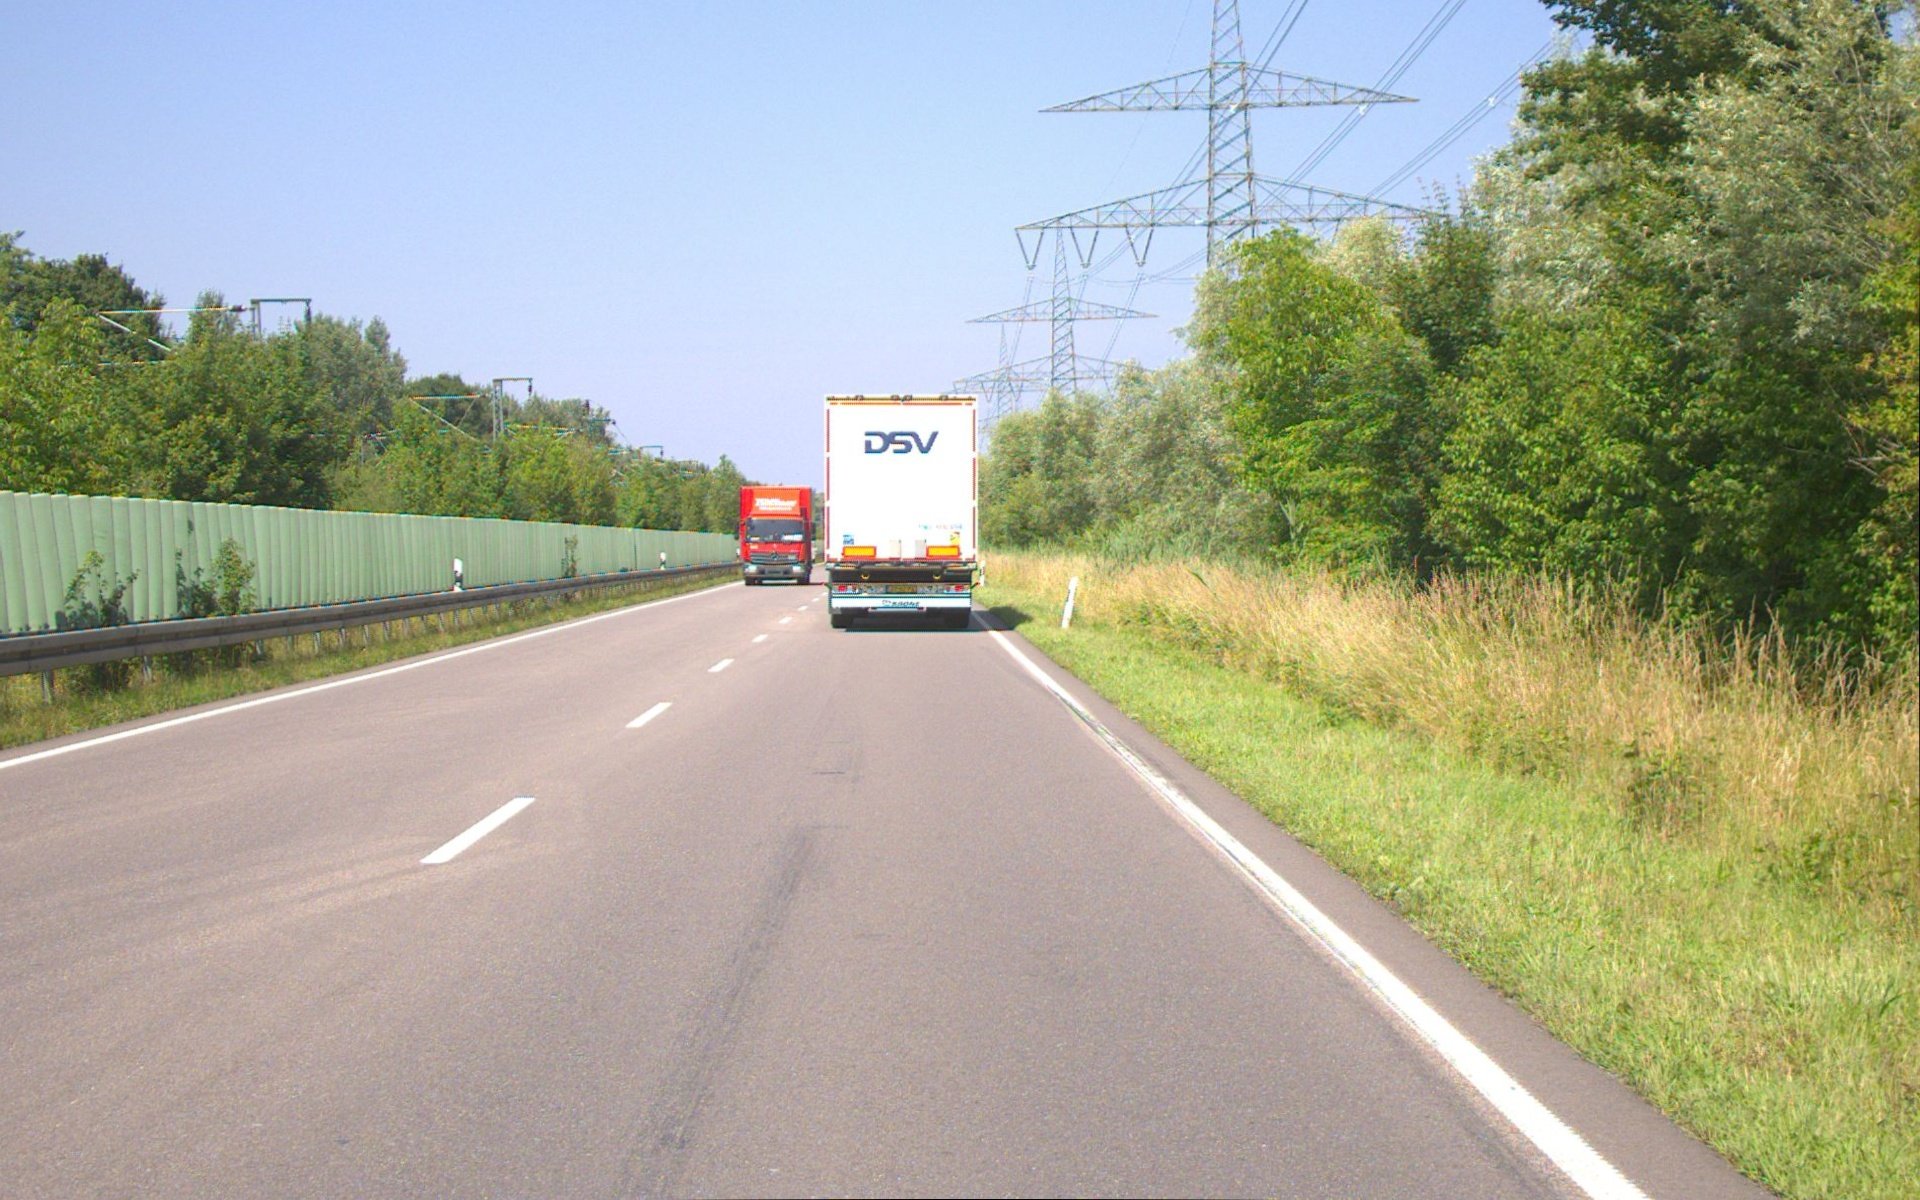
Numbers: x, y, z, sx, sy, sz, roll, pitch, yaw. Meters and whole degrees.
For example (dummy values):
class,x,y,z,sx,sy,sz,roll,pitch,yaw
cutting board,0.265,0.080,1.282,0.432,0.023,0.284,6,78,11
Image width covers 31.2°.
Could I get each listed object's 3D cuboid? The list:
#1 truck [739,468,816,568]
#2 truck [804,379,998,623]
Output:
class,x,y,z,sx,sy,sz,roll,pitch,yaw
truck,-6.730,-3.026,127.930,2.733,3.586,9.528,0,1,-2
truck,-1.134,-1.757,62.950,3.192,4.029,12.008,0,1,-1
